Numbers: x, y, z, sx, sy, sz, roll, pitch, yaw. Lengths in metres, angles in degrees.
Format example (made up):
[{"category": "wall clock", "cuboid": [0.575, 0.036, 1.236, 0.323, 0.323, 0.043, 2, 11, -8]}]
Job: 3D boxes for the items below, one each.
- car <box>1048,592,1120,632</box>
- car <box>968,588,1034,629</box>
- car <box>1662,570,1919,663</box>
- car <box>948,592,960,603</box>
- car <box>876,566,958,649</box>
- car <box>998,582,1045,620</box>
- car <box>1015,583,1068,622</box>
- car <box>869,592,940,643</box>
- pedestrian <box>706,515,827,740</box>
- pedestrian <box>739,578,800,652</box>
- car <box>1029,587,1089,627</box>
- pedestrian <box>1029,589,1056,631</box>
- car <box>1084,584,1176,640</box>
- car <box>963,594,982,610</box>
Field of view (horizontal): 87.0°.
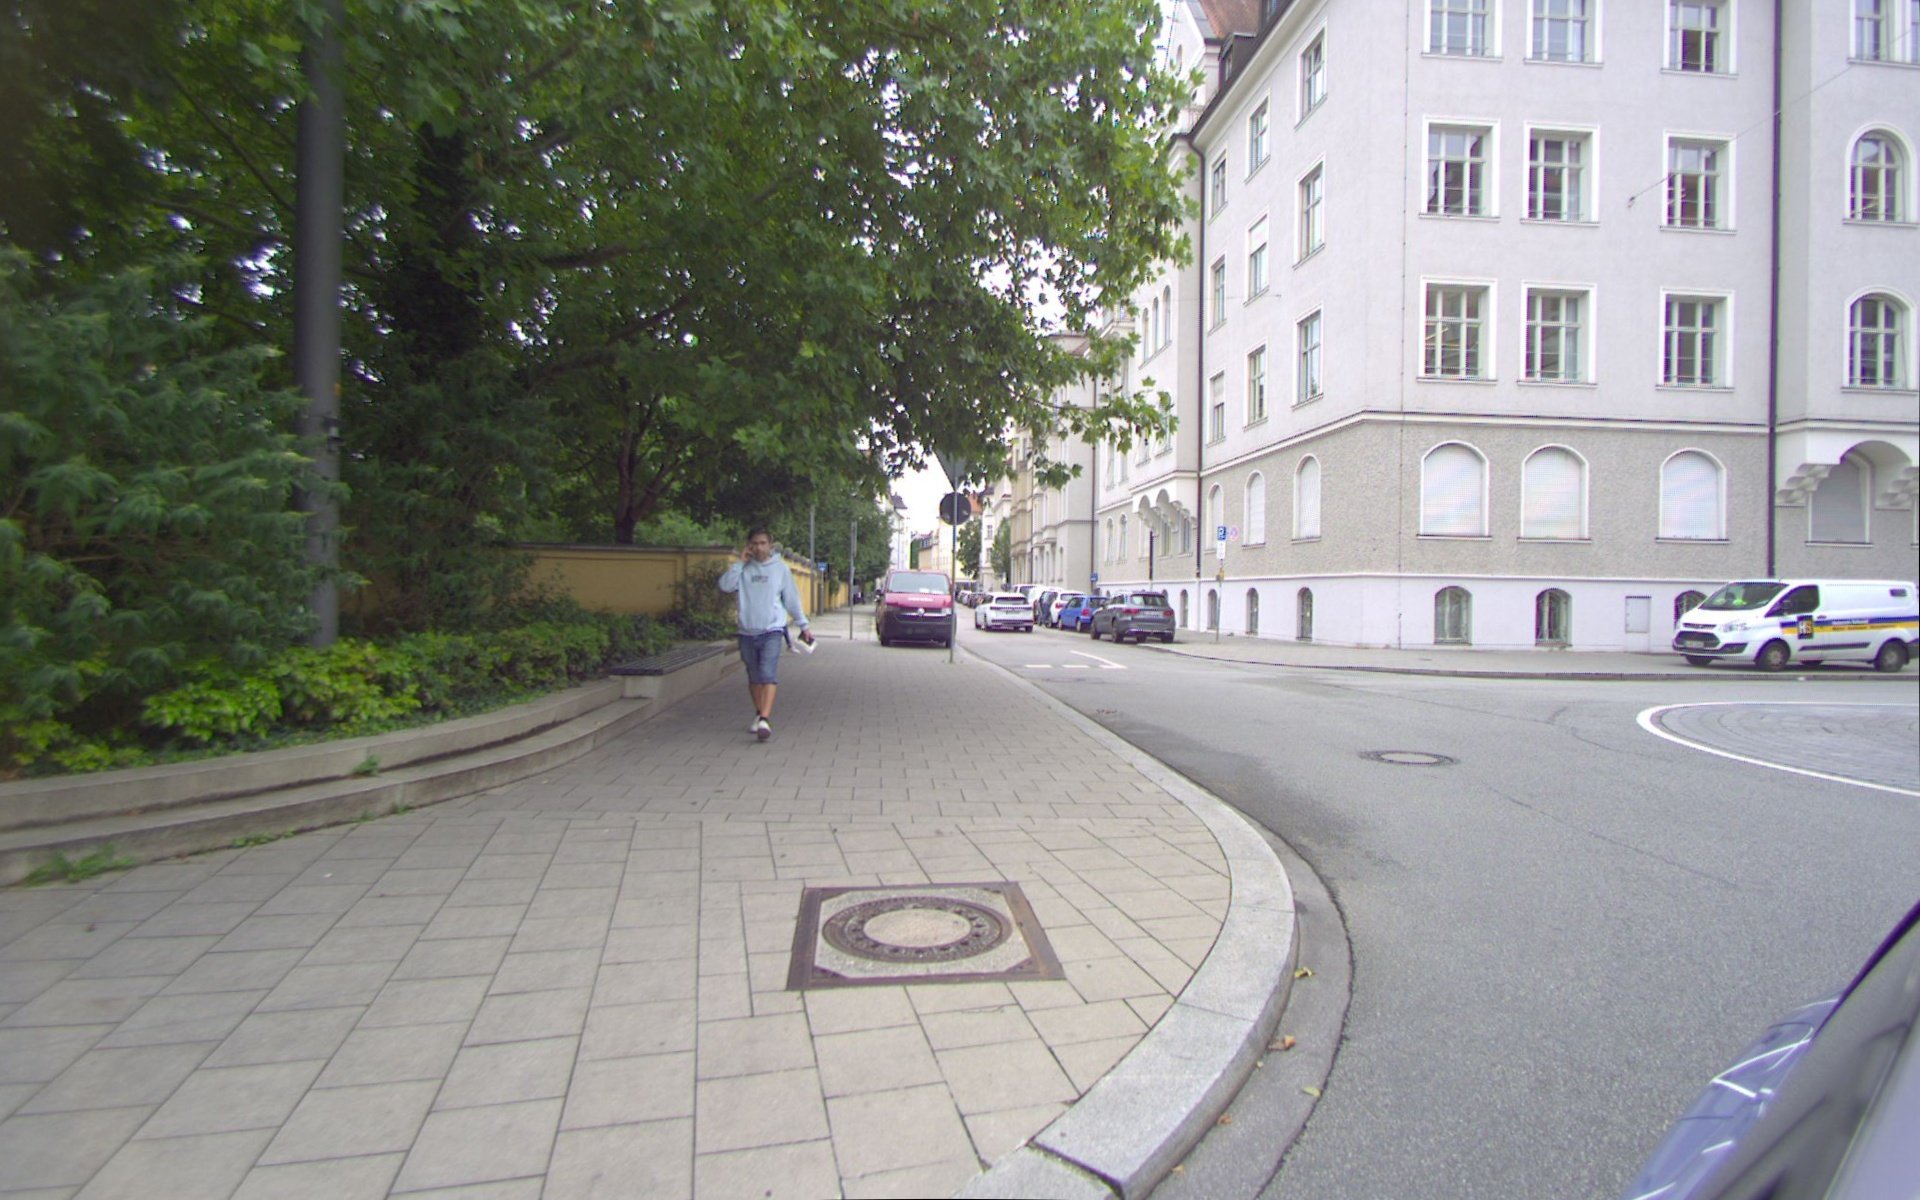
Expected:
[{"category": "car", "cuboid": [4.830, 0.443, 39.905, 1.662, 1.432, 3.670, 2, 0, -12]}, {"category": "car", "cuboid": [1.504, 0.301, 38.782, 1.852, 1.467, 4.896, 0, 0, -5]}, {"category": "car", "cuboid": [18.228, 0.345, 21.997, 4.811, 1.904, 1.928, 0, 0, -7]}, {"category": "car", "cuboid": [-0.889, -0.384, 152.463, 1.596, 1.550, 3.923, 2, 0, -3]}, {"category": "car", "cuboid": [-1.223, 0.155, 26.379, 1.842, 1.945, 4.893, -1, 0, -6]}, {"category": "car", "cuboid": [3.363, 0.032, 56.508, 1.825, 1.963, 4.962, 2, 0, -5]}, {"category": "car", "cuboid": [3.993, 0.111, 50.370, 1.717, 1.811, 5.042, 2, 0, -5]}, {"category": "car", "cuboid": [-1.830, 0.503, 32.086, 1.852, 1.467, 4.375, -1, 0, -8]}, {"category": "pedestrian", "cuboid": [-1.613, 0.217, 8.598, 0.859, 1.793, 1.053, 1, 0, -3]}, {"category": "pedestrian", "cuboid": [-3.582, 0.274, 19.141, 0.993, 1.355, 0.877, 1, 0, -1]}, {"category": "car", "cuboid": [4.317, 0.270, 44.568, 1.717, 1.622, 4.501, 2, 0, -6]}, {"category": "pedestrian", "cuboid": [3.548, 0.430, 43.700, 0.868, 1.778, 0.955, 0, 0, 27]}, {"category": "car", "cuboid": [5.357, 0.352, 32.459, 1.717, 1.622, 4.501, 2, 0, -6]}, {"category": "car", "cuboid": [1.138, 0.153, 95.846, 1.597, 1.447, 3.942, 2, 0, -1]}]
